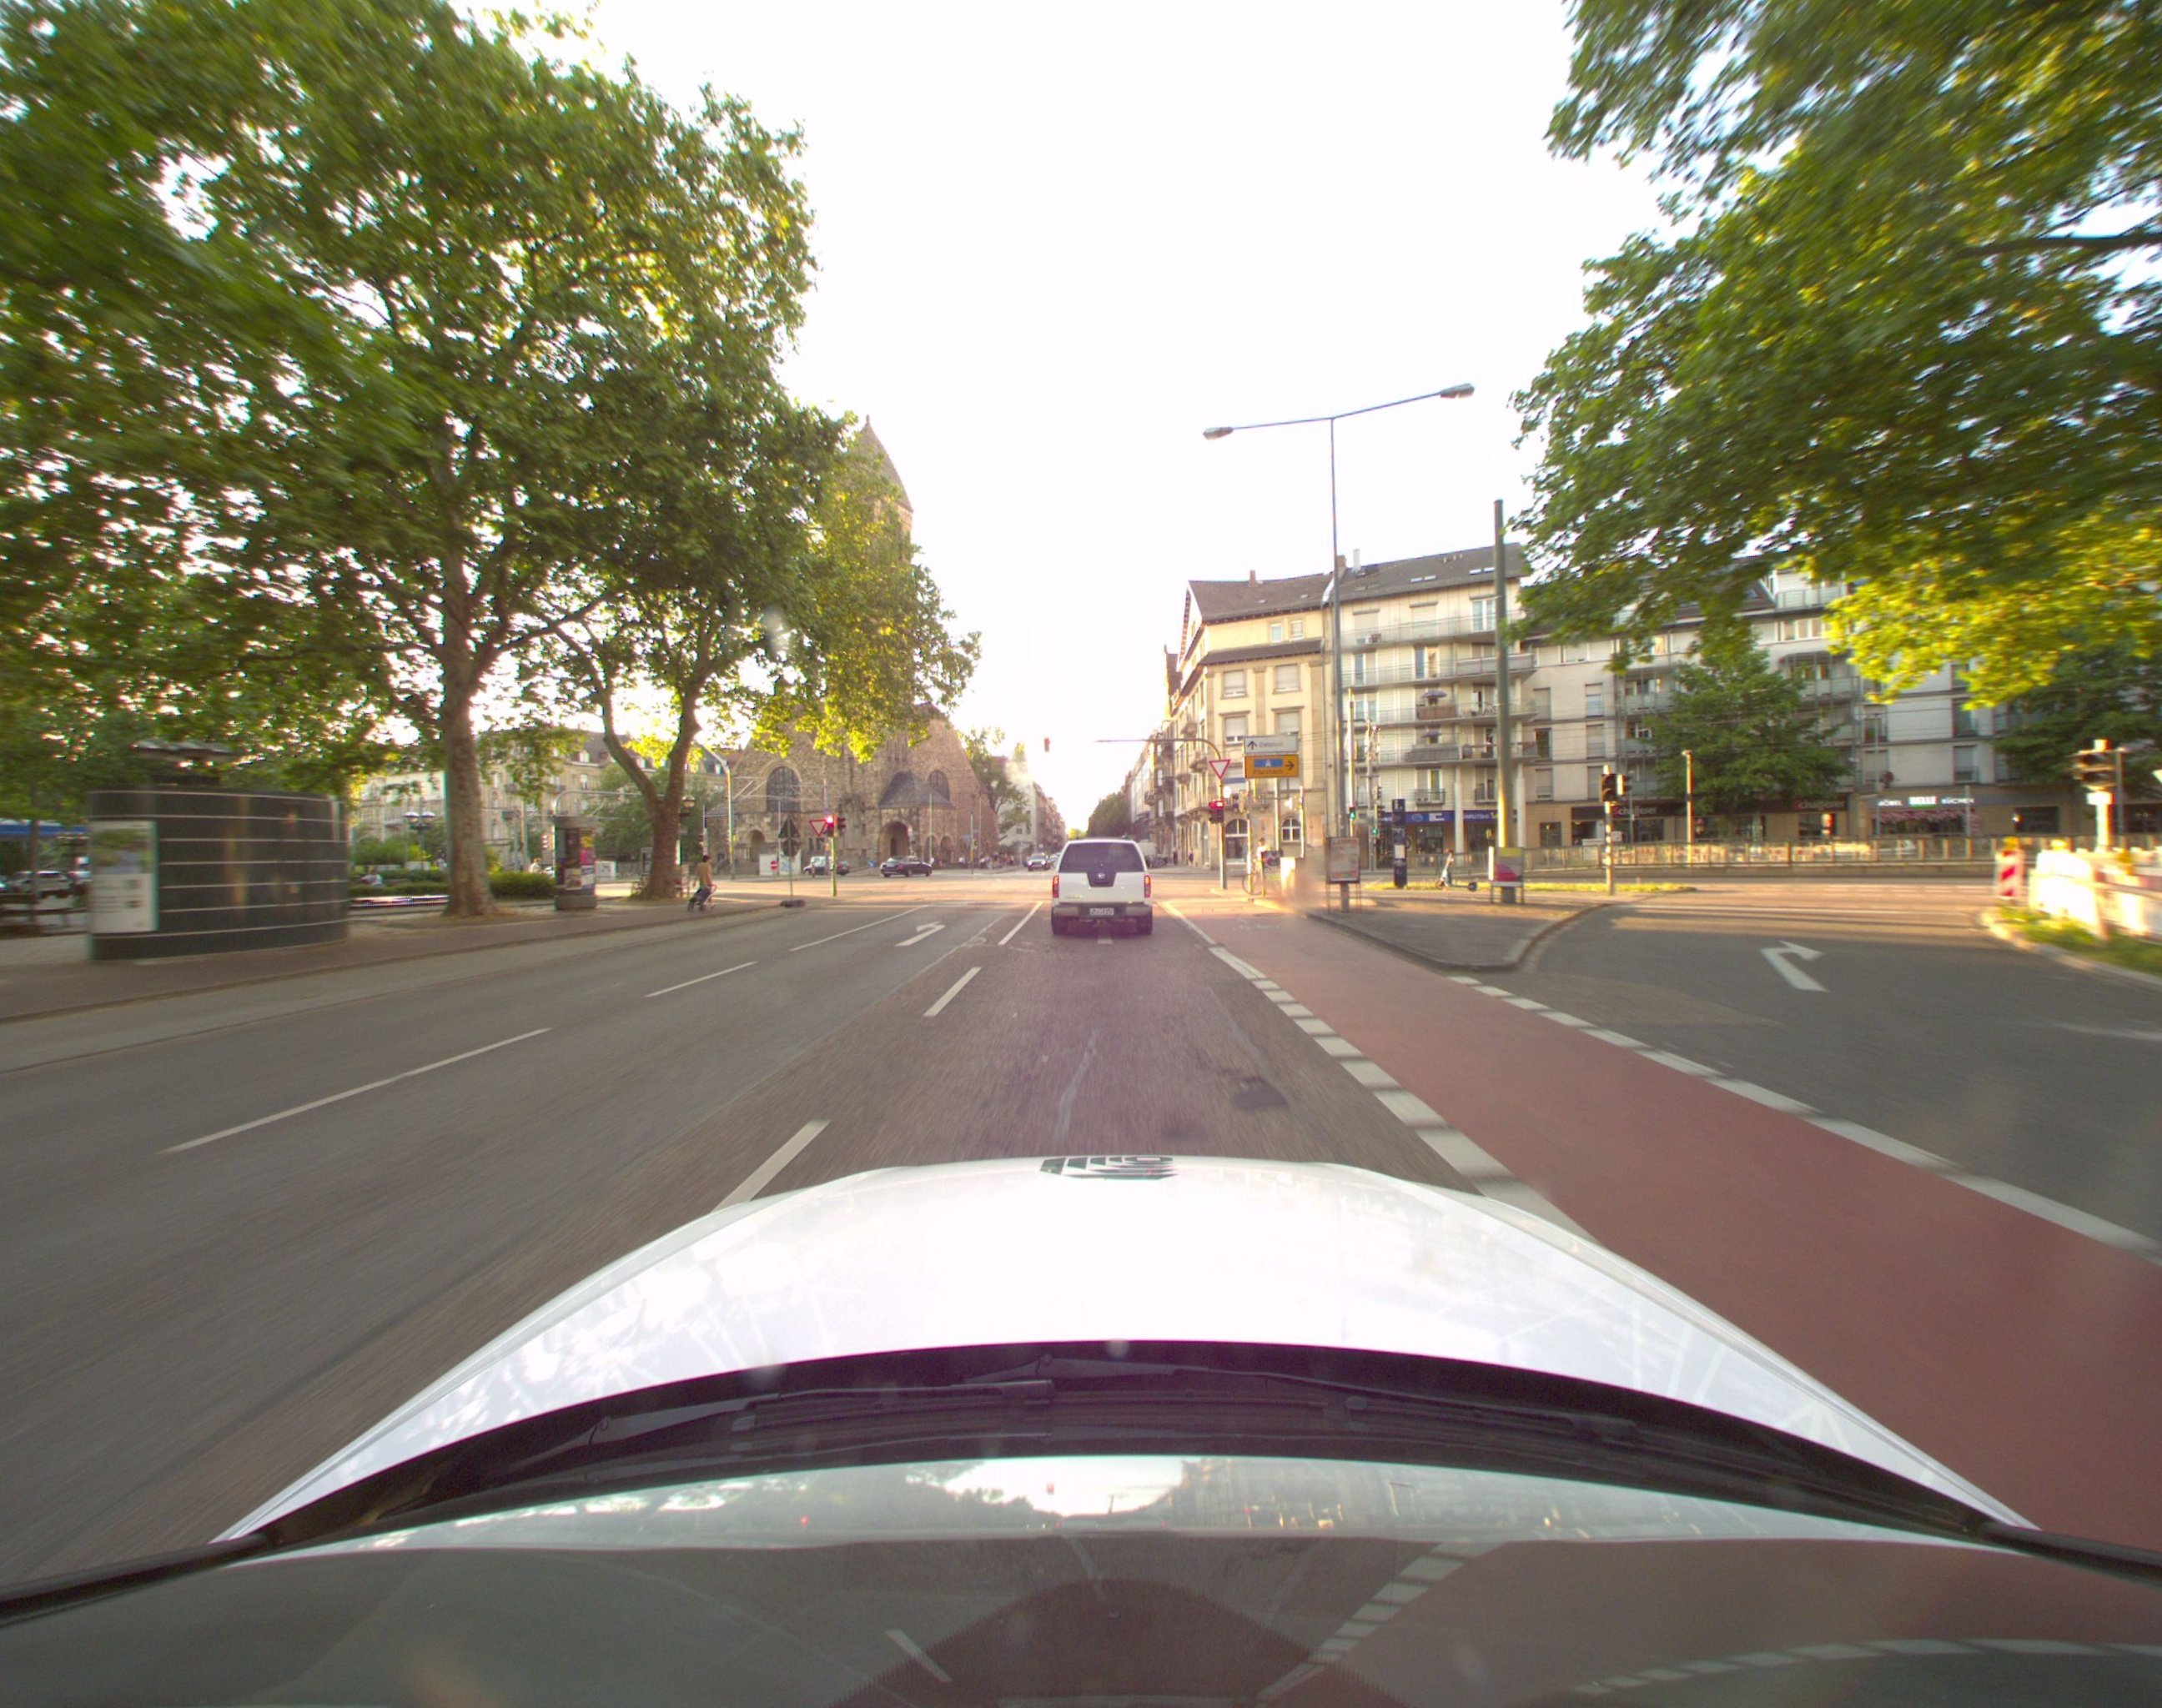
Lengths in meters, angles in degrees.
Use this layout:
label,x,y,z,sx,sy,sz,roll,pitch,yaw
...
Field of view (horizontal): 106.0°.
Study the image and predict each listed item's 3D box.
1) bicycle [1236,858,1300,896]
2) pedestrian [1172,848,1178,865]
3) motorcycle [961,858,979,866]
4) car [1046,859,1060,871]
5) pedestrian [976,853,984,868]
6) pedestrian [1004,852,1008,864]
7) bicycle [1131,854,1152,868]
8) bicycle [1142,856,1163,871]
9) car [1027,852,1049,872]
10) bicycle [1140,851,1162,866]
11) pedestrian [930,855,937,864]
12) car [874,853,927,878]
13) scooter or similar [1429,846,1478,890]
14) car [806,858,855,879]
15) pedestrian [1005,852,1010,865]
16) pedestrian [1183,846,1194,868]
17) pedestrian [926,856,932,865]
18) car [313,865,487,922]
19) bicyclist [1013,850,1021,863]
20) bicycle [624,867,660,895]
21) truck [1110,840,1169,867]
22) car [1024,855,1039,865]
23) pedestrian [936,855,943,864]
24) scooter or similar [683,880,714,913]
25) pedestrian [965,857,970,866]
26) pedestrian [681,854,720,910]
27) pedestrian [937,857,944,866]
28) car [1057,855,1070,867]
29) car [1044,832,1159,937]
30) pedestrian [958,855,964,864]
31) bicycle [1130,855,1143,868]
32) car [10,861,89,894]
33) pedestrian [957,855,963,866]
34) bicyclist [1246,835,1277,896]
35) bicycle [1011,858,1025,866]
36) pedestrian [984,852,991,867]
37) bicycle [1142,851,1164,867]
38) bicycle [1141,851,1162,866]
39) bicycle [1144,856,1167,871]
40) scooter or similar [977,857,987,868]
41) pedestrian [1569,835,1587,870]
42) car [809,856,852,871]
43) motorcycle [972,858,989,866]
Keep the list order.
label,x,y,z,sx,sy,sz,roll,pitch,yaw
bicycle,5.759,0.699,25.029,2.079,1.109,0.622,0,-1,-31
pedestrian,8.723,0.230,75.724,0.525,1.654,0.547,0,-1,1
motorcycle,-14.122,0.994,103.627,2.239,0.987,0.707,0,-1,-4
car,-4.197,1.619,122.573,1.987,1.558,4.769,2,1,0
pedestrian,-11.183,0.714,90.312,0.629,1.698,0.605,-1,2,15
pedestrian,-10.724,0.524,116.504,0.559,1.695,0.643,0,-1,-6
bicycle,5.350,0.625,72.109,1.721,1.083,0.317,-4,-1,-1
bicycle,6.442,0.858,73.268,1.812,1.238,0.477,-4,-1,-1
car,-4.427,0.795,83.775,1.987,1.784,4.797,-1,2,0
bicycle,6.456,0.443,75.136,1.849,1.238,0.530,-4,-1,-1
pedestrian,-15.351,0.548,84.895,0.517,0.960,0.482,-1,-1,21
car,-12.232,0.750,55.434,1.979,1.618,4.015,-1,-1,14
scooter or similar,10.928,0.408,23.905,1.219,1.249,0.518,-1,-1,41
car,-21.341,1.233,69.245,3.948,1.684,2.013,-1,-1,36
pedestrian,-10.500,0.599,115.659,0.643,1.855,0.559,0,-1,-13
pedestrian,8.838,0.241,66.859,0.779,1.779,0.546,-1,-1,27
pedestrian,-17.724,0.745,94.867,0.551,0.960,0.708,0,-1,-5
car,-26.143,1.459,31.485,1.975,1.781,4.669,-2,1,27
bicyclist,-8.149,0.348,103.875,0.951,1.644,0.604,-1,-1,43
bicycle,-17.748,1.090,32.961,0.456,1.092,1.798,0,-1,0
truck,5.640,-0.055,78.207,5.704,2.565,2.260,-1,0,-42
car,-6.886,0.851,113.323,1.852,1.398,4.000,0,-1,1
pedestrian,-14.740,0.541,84.605,0.517,0.960,0.482,-1,-1,21
scooter or similar,-11.015,1.211,23.470,0.591,0.898,0.849,0,-1,-9
pedestrian,-12.577,0.848,90.105,0.522,0.960,0.477,0,-1,-14
pedestrian,-11.336,0.816,24.290,0.800,1.628,0.773,0,-1,-3
pedestrian,-14.825,0.826,85.776,0.473,0.960,0.526,-1,-1,31
car,-2.970,1.198,139.979,1.987,2.013,4.950,-2,0,0
car,0.415,0.542,16.027,1.986,1.809,4.001,0,-1,2
pedestrian,-13.292,0.576,90.284,0.517,0.960,0.482,-1,-1,19
bicycle,4.957,0.679,73.002,1.073,1.024,0.317,-4,-1,-1
car,-60.738,1.363,47.966,3.951,1.849,1.928,-1,-1,24
pedestrian,-13.546,0.730,91.380,0.474,1.245,0.526,-1,-1,19
bicyclist,5.519,0.343,24.904,0.701,1.824,0.622,0,-1,-31
bicycle,-8.078,1.020,103.809,1.921,1.043,0.604,-1,-1,43
pedestrian,-10.337,0.640,90.154,0.628,1.698,0.606,-1,-1,20
bicycle,6.428,0.449,72.561,1.812,1.238,0.488,-4,-1,-1
bicycle,6.482,0.436,74.604,1.812,1.238,0.410,-4,-1,-1
bicycle,6.548,0.818,71.614,1.812,1.150,0.636,-4,-1,-1
scooter or similar,-10.796,0.948,89.201,0.628,1.103,1.084,-1,3,19
pedestrian,32.319,-0.083,52.986,0.860,2.209,0.825,-1,-1,21
car,-26.033,0.981,84.735,1.698,1.517,4.481,-1,-1,26
motorcycle,-13.028,1.004,105.891,2.146,0.987,0.597,-1,-1,21
